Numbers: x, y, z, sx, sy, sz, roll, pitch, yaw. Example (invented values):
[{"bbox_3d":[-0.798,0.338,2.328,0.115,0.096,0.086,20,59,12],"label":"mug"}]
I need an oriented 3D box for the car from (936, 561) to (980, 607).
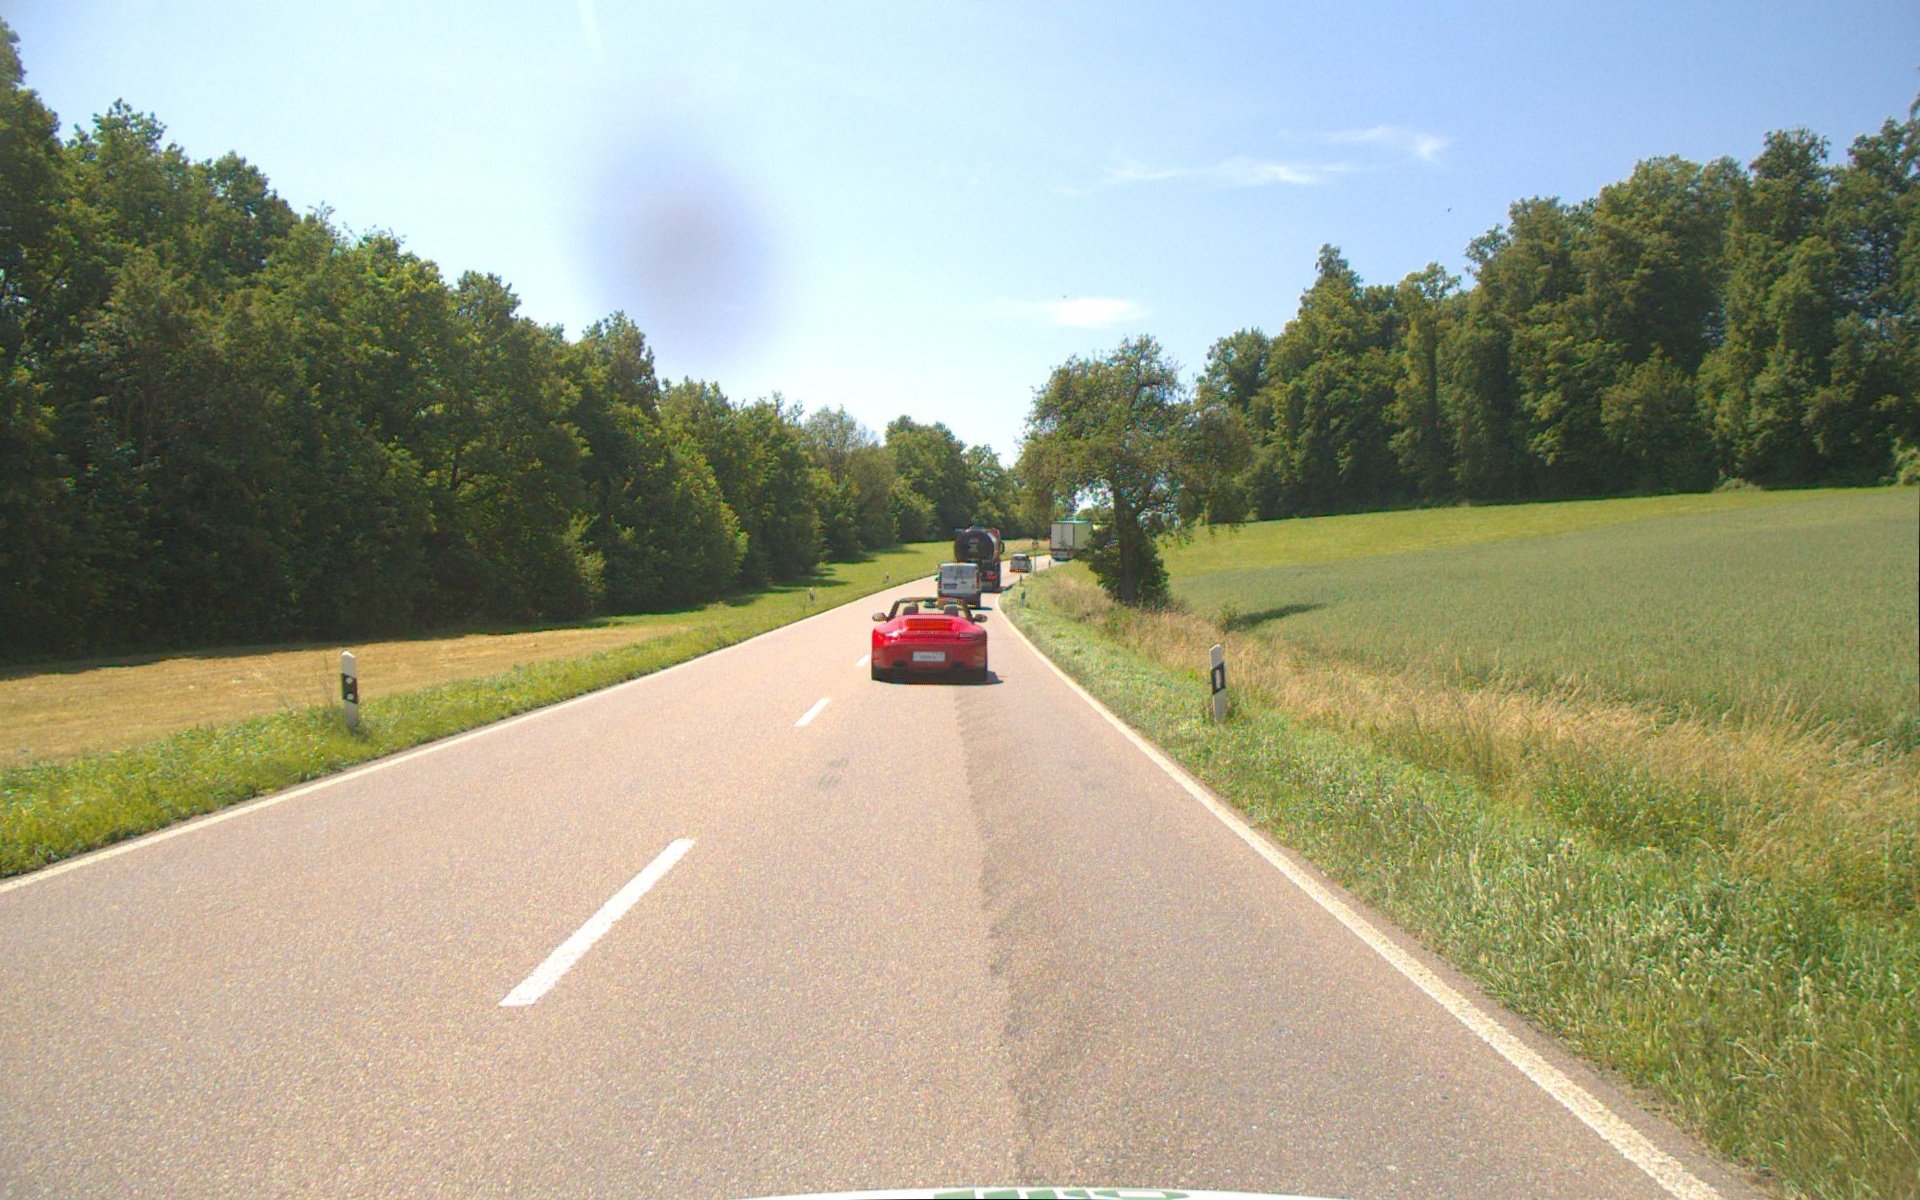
[{"bbox_3d":[-0.065,-0.724,71.290,1.643,1.934,4.012,0,1,3],"label":"car"}]

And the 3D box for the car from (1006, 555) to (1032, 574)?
[{"bbox_3d":[5.199,-3.120,145.289,1.792,1.539,4.195,0,3,9],"label":"car"}]

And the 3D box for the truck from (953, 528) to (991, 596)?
[{"bbox_3d":[0.780,-2.381,106.961,2.354,4.120,12.551,0,1,0],"label":"truck"}]

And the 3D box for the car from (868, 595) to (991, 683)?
[{"bbox_3d":[-0.485,0.585,26.923,1.844,1.277,4.009,1,1,-1],"label":"car"}]

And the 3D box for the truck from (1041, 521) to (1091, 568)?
[{"bbox_3d":[11.527,-6.069,178.352,3.646,4.740,12.044,-3,2,11],"label":"truck"}]
